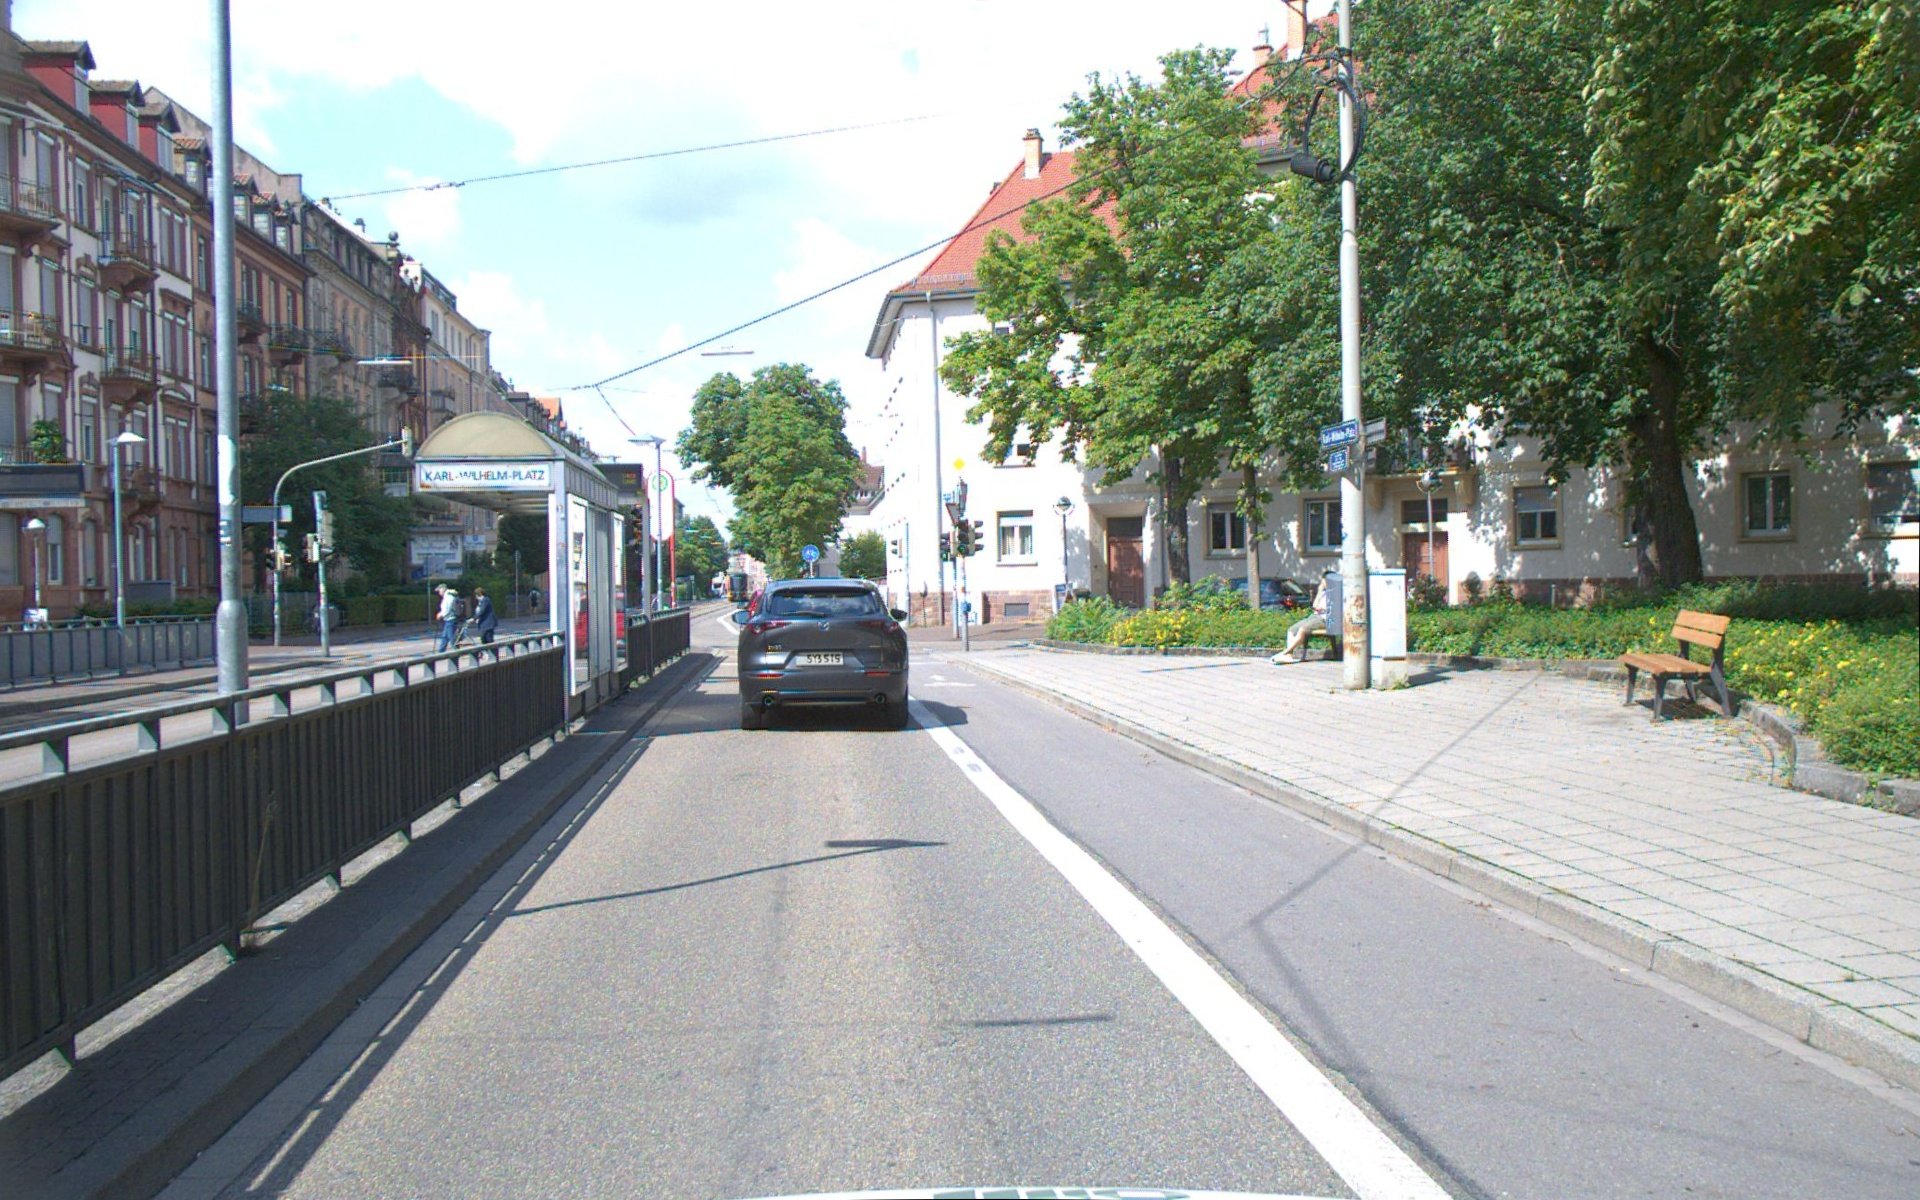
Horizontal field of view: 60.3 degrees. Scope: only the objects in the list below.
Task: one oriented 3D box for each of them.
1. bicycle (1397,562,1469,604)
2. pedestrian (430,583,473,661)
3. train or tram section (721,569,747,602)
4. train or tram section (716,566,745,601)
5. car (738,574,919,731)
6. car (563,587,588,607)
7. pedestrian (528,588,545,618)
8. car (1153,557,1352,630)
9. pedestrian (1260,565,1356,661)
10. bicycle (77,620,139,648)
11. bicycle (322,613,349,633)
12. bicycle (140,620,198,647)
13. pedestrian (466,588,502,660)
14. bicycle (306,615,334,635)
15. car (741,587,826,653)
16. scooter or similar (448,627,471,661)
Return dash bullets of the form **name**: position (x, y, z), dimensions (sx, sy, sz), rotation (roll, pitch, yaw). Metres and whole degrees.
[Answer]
- **bicycle**: position (12.205, -0.428, 42.704), dimensions (0.562, 1.037, 1.726), rotation (-4, 2, -43)
- **pedestrian**: position (-11.450, 0.489, 37.257), dimensions (0.756, 1.704, 0.667), rotation (-2, 0, -7)
- **train or tram section**: position (-29.784, -1.880, 218.367), dimensions (2.940, 4.053, 13.789), rotation (-2, 0, -6)
- **train or tram section**: position (-28.328, -1.985, 204.653), dimensions (2.940, 4.053, 13.789), rotation (-2, 0, -6)
- **car**: position (-1.555, 0.512, 18.286), dimensions (1.749, 1.540, 3.993), rotation (1, 0, -8)
- **car**: position (-32.457, -0.274, 139.716), dimensions (1.625, 1.624, 3.924), rotation (-2, 1, -7)
- **pedestrian**: position (-24.741, 0.163, 96.682), dimensions (0.772, 1.718, 0.731), rotation (-1, 0, -5)
- **car**: position (6.691, -0.137, 37.927), dimensions (4.088, 1.536, 1.845), rotation (-1, 2, 36)
- **pedestrian**: position (5.017, 0.181, 23.854), dimensions (1.171, 1.291, 0.556), rotation (-4, 1, -11)
- **bicycle**: position (-25.342, 1.019, 49.239), dimensions (0.378, 0.760, 1.708), rotation (-1, 1, 29)
- **bicycle**: position (-23.303, 0.847, 61.720), dimensions (0.377, 0.688, 1.710), rotation (-1, 1, -2)
- **bicycle**: position (-24.376, 1.024, 50.992), dimensions (0.378, 0.760, 1.708), rotation (-1, 1, 29)
- **pedestrian**: position (-10.596, 0.530, 36.821), dimensions (0.655, 1.573, 0.580), rotation (-1, 0, -7)
- **bicycle**: position (-23.017, 0.910, 59.534), dimensions (0.377, 0.664, 1.710), rotation (-1, 1, -2)
- **car**: position (-4.276, 0.438, 39.579), dimensions (1.743, 1.489, 3.833), rotation (0, 1, -11)
- **scooter or similar**: position (-11.113, 0.973, 36.730), dimensions (0.406, 0.733, 0.486), rotation (-1, 1, -7)
